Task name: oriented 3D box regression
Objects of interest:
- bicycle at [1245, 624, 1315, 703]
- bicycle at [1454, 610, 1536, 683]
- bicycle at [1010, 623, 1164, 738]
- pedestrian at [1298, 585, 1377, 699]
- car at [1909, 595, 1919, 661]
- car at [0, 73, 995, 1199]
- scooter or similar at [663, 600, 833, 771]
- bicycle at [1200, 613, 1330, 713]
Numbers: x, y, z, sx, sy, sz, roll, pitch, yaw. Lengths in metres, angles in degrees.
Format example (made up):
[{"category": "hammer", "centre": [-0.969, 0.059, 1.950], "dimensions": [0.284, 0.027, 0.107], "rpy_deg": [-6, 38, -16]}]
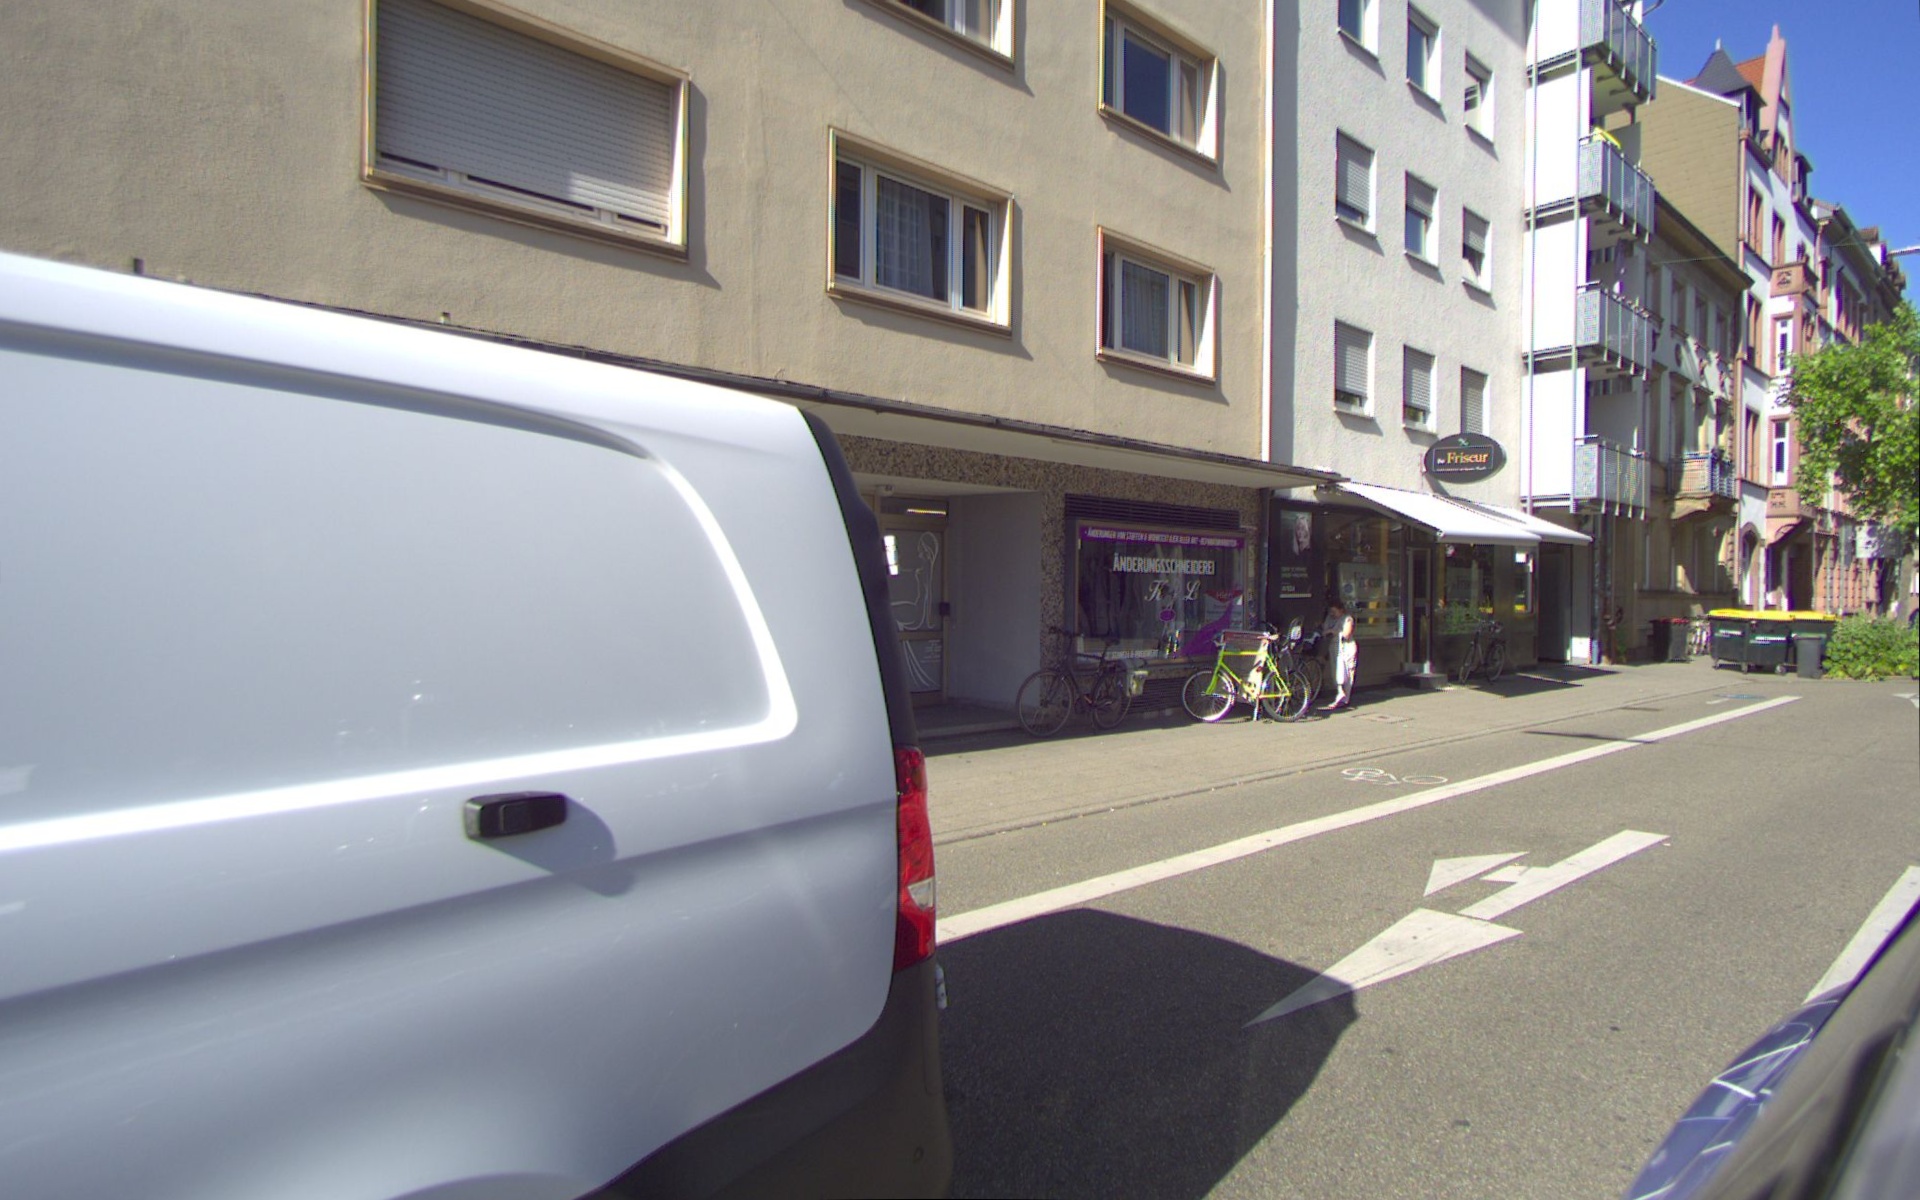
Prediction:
[{"category": "bicycle", "centre": [4.319, 0.830, 13.635], "dimensions": [1.155, 0.995, 0.375], "rpy_deg": [0, 0, -43]}, {"category": "bicycle", "centre": [9.233, 0.775, 17.430], "dimensions": [1.743, 1.157, 0.598], "rpy_deg": [0, 3, -41]}, {"category": "bicycle", "centre": [1.362, 0.809, 10.682], "dimensions": [1.766, 1.098, 0.408], "rpy_deg": [0, 3, -36]}, {"category": "pedestrian", "centre": [5.142, 0.546, 13.795], "dimensions": [0.615, 1.459, 0.774], "rpy_deg": [0, 3, -45]}, {"category": "car", "centre": [25.372, 0.703, 25.624], "dimensions": [3.485, 1.616, 1.626], "rpy_deg": [0, 0, -41]}, {"category": "car", "centre": [-2.357, 0.463, 0.799], "dimensions": [4.750, 1.833, 1.971], "rpy_deg": [0, 1, -42]}, {"category": "scooter or similar", "centre": [-1.661, 0.625, 7.996], "dimensions": [1.207, 1.240, 0.527], "rpy_deg": [0, 0, -41]}, {"category": "bicycle", "centre": [3.732, 0.743, 12.424], "dimensions": [1.475, 1.120, 0.719], "rpy_deg": [1, 0, 18]}]
